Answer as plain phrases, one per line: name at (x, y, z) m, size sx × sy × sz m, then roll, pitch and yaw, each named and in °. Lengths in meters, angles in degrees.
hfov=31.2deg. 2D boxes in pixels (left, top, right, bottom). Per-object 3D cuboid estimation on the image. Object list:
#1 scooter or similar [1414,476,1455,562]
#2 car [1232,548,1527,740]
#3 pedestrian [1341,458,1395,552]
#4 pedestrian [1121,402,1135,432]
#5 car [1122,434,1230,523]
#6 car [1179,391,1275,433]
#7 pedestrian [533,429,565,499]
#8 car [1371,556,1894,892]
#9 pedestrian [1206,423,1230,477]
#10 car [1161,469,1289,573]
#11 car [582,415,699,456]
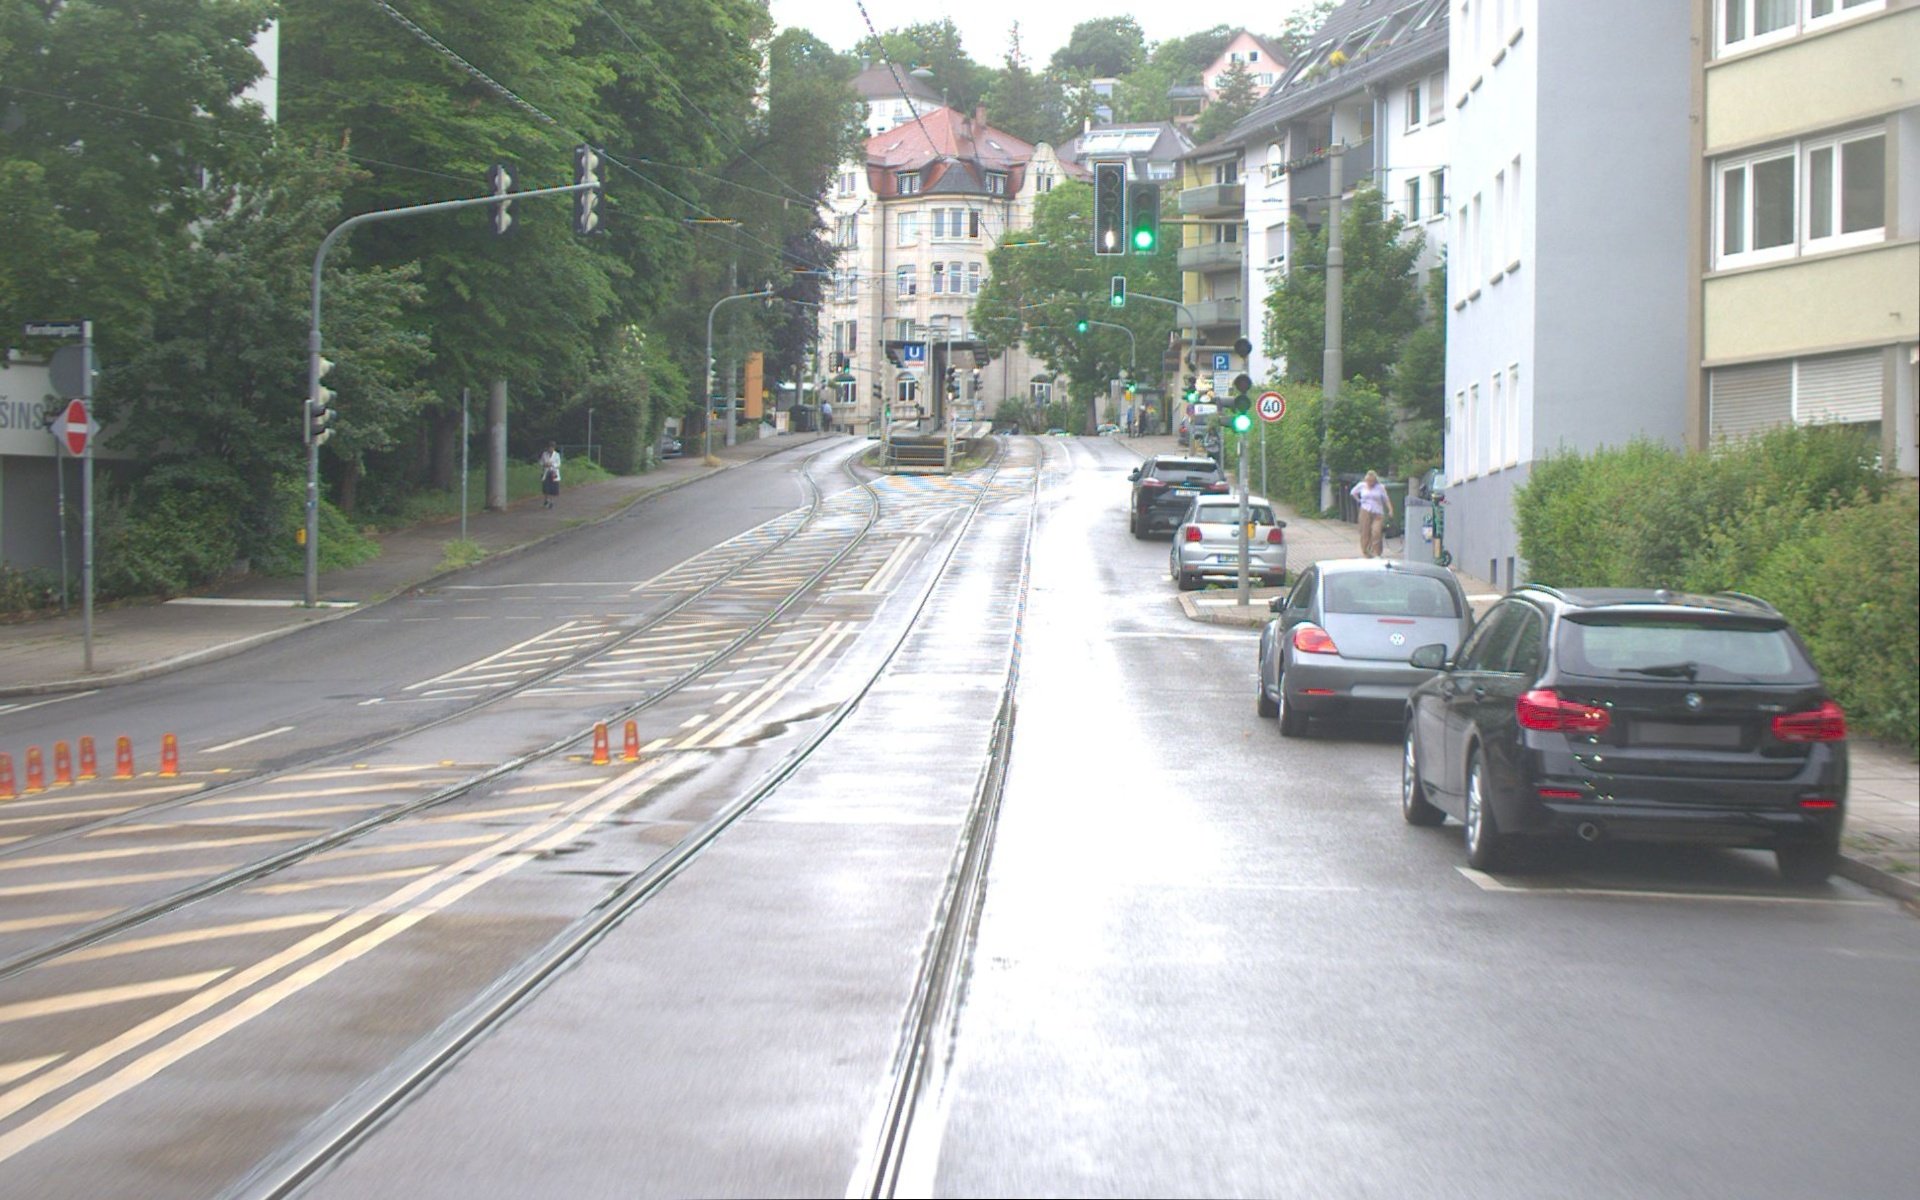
scooter or similar at (7.611, -1.306, 55.192) m, size 0.575 × 1.245 × 1.610 m, roll 2°, pitch 6°, yaw 7°
car at (3.532, 0.324, 29.685) m, size 1.939 × 1.459 × 4.207 m, roll 2°, pitch 1°, yaw -1°
pedestrian at (7.102, -1.653, 59.833) m, size 0.882 × 1.577 × 0.801 m, roll 0°, pitch 5°, yaw 4°
pedestrian at (8.493, -9.258, 173.843) m, size 0.578 × 1.461 × 0.544 m, roll 2°, pitch 0°, yaw -6°
car at (4.421, -2.531, 70.843) m, size 1.906 × 1.636 × 4.690 m, roll 2°, pitch 3°, yaw 0°
car at (11.423, -8.050, 147.295) m, size 3.987 × 1.640 × 1.808 m, roll 2°, pitch 2°, yaw 1°
pedestrian at (-9.636, -3.200, 80.597) m, size 0.583 × 1.594 × 0.869 m, roll 3°, pitch 3°, yaw -2°
car at (3.433, 0.555, 18.463) m, size 1.858 × 1.482 × 4.645 m, roll 2°, pitch 1°, yaw 0°
pedestrian at (7.851, -4.566, 104.568) m, size 0.644 × 1.623 × 0.699 m, roll 2°, pitch 2°, yaw 10°
car at (4.173, -1.287, 54.622) m, size 1.704 × 1.428 × 4.102 m, roll 2°, pitch 3°, yaw 0°
car at (-11.817, -6.094, 127.200) m, size 3.992 × 1.401 × 1.680 m, roll 2°, pitch 0°, yaw 24°
